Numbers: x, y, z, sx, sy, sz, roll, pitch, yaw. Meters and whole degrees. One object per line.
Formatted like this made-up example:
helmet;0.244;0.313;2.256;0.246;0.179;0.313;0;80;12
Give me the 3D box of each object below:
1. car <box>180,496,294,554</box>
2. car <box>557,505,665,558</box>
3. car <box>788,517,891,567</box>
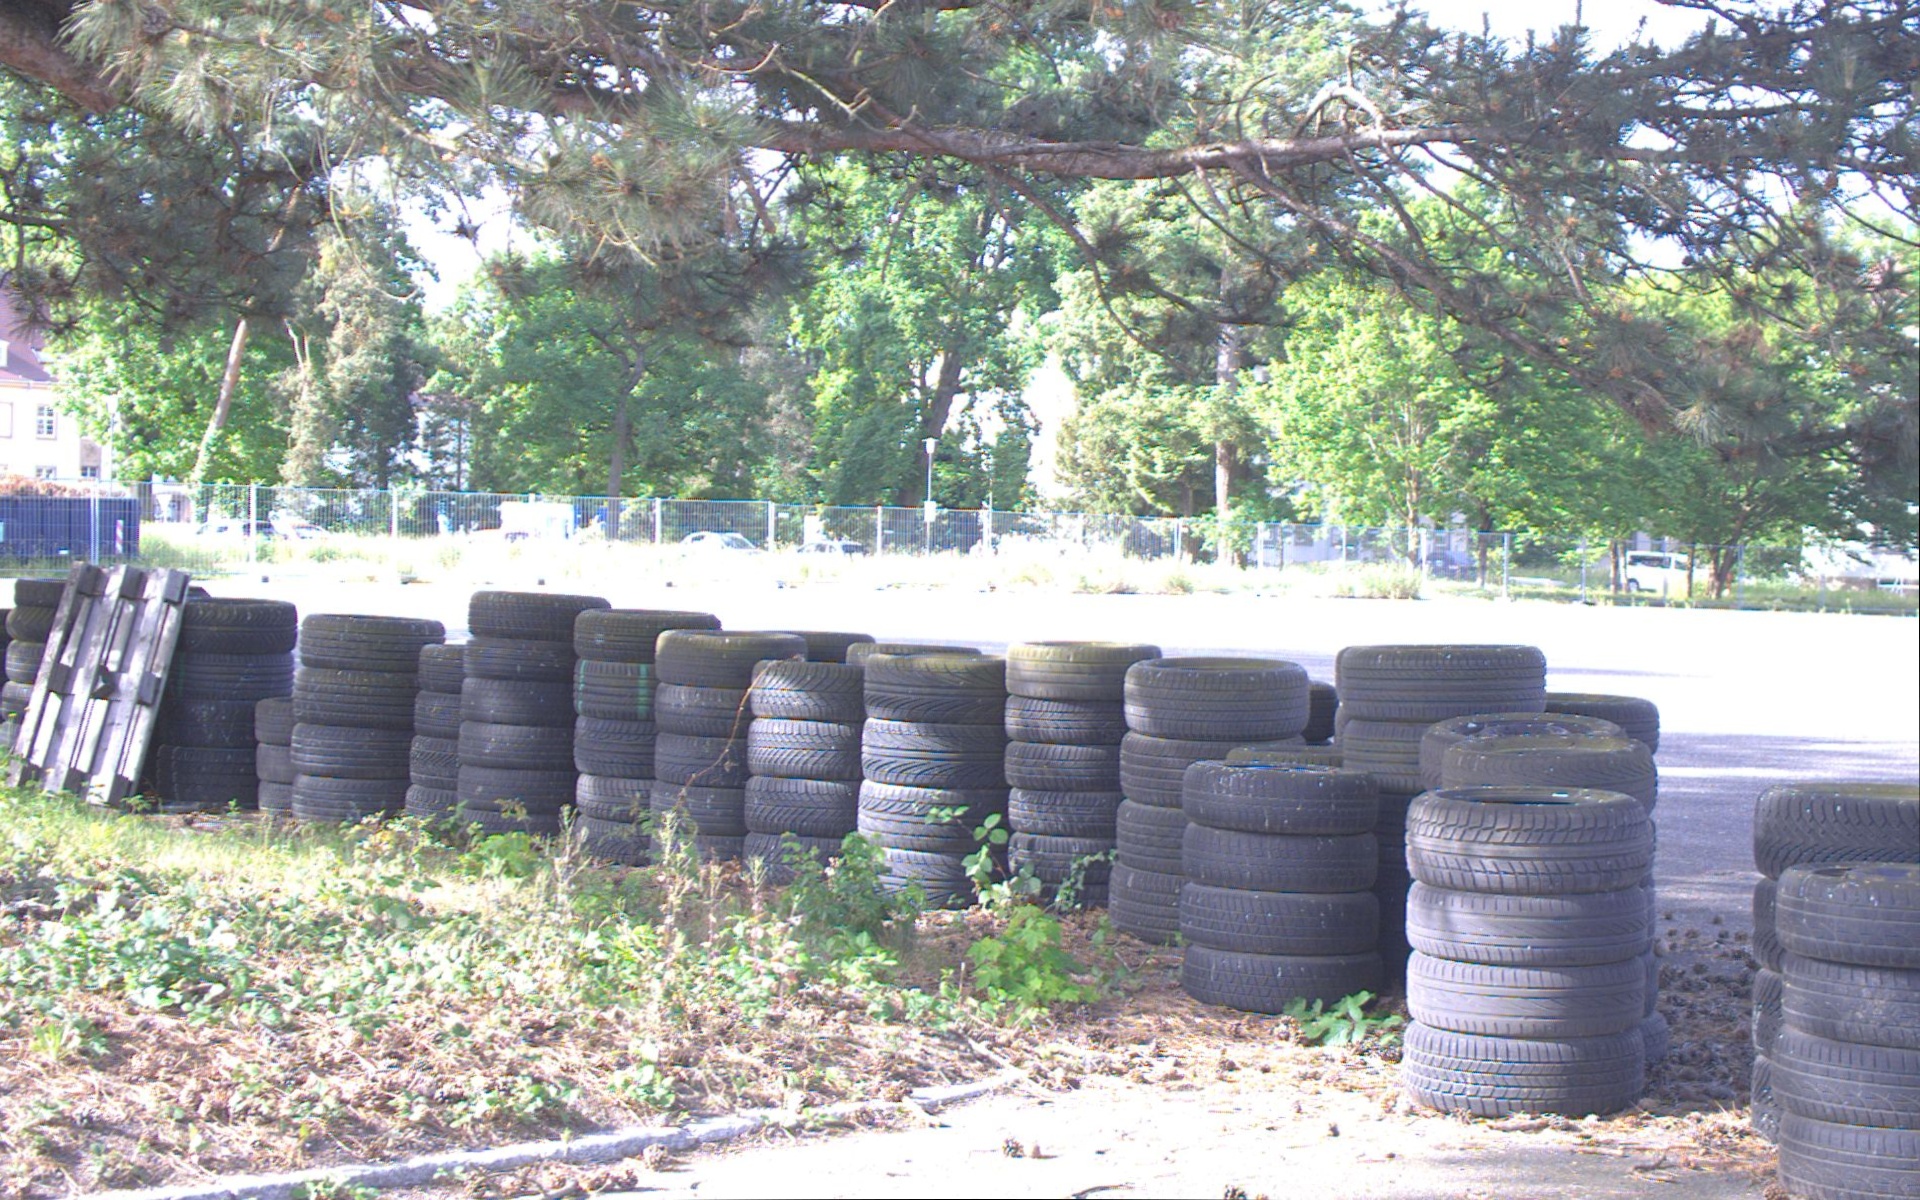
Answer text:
car;-23.256;-2.425;110.552;1.994;1.744;3.999;1;1;-38
car;-12.261;-2.417;120.729;1.994;1.744;4.000;1;1;-36
car;-4.481;-2.155;127.754;1.993;1.744;4.000;1;1;-33
